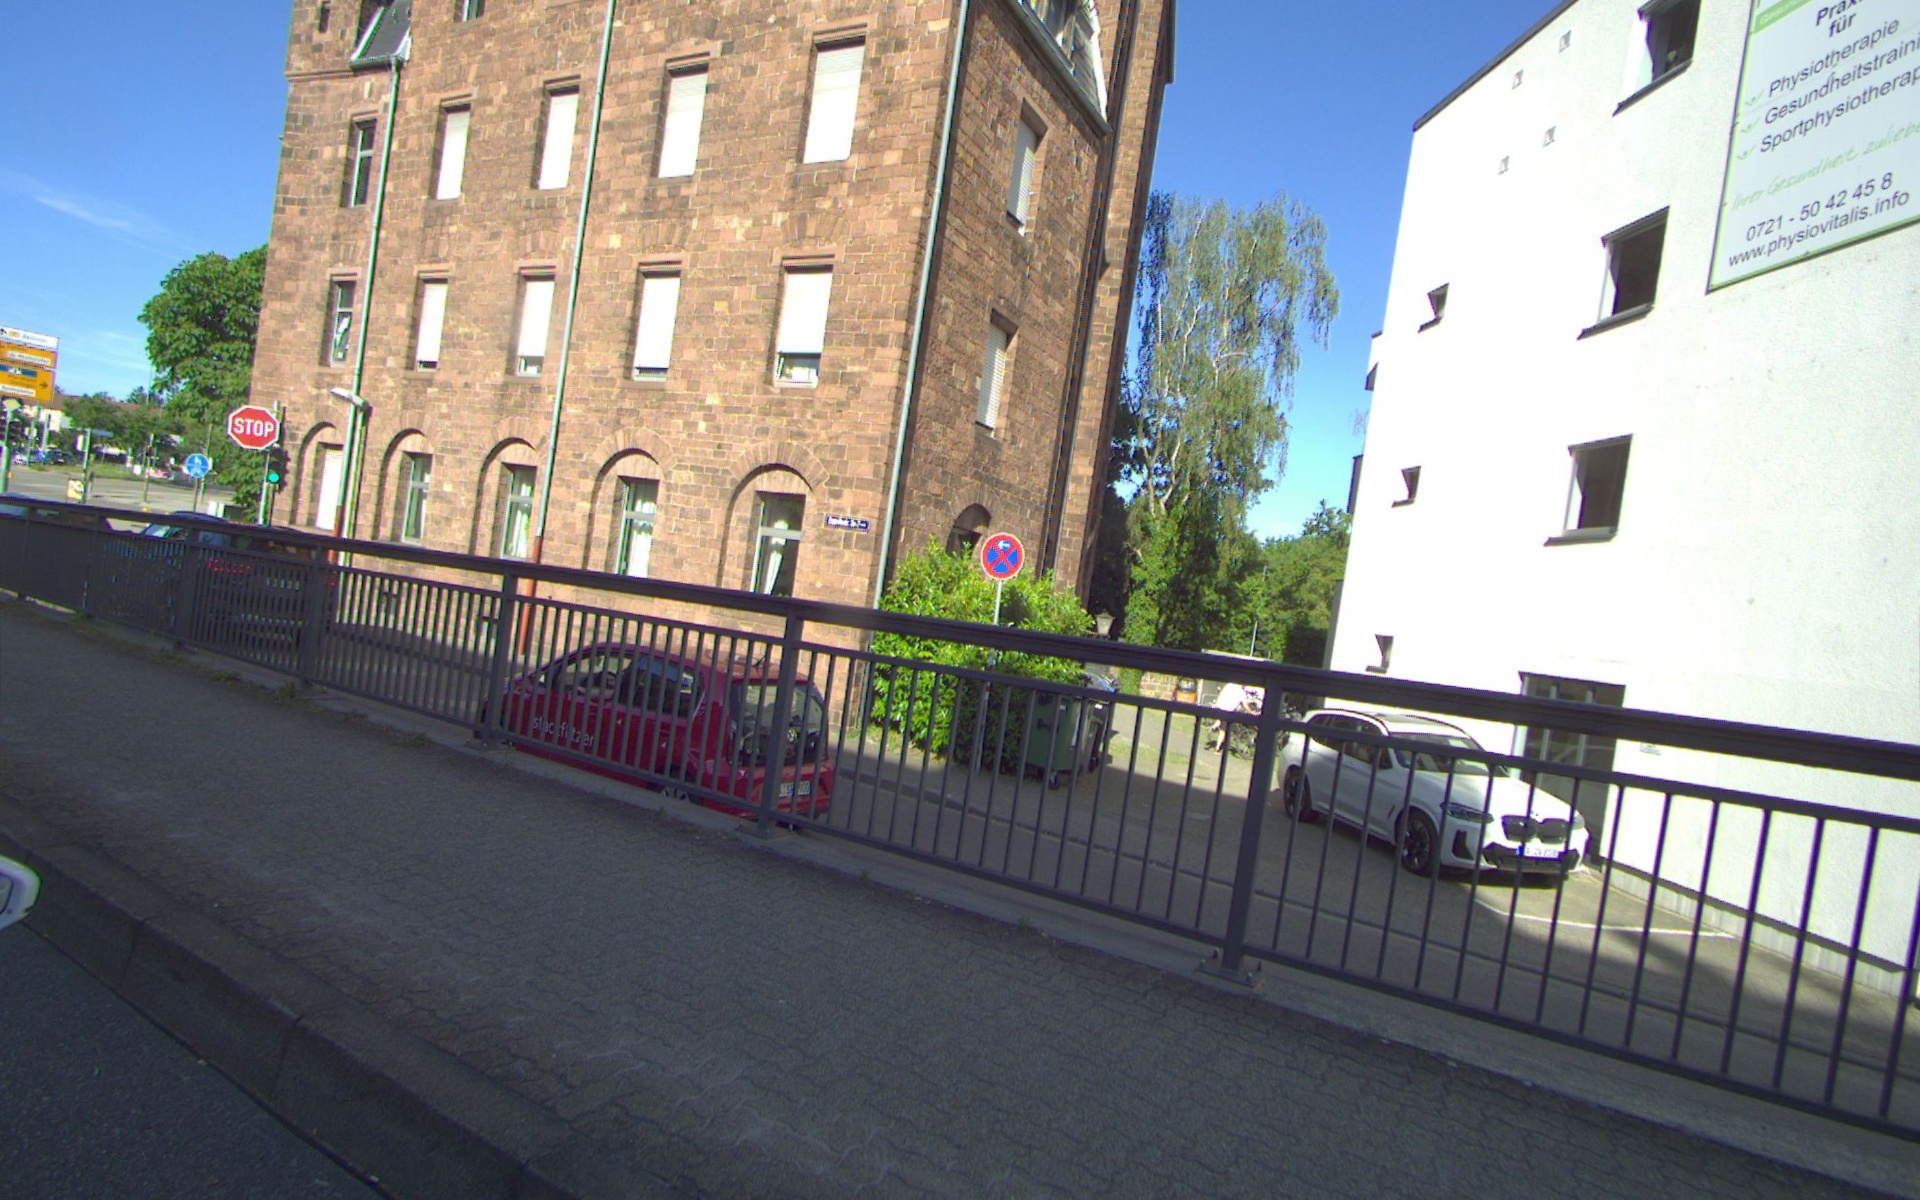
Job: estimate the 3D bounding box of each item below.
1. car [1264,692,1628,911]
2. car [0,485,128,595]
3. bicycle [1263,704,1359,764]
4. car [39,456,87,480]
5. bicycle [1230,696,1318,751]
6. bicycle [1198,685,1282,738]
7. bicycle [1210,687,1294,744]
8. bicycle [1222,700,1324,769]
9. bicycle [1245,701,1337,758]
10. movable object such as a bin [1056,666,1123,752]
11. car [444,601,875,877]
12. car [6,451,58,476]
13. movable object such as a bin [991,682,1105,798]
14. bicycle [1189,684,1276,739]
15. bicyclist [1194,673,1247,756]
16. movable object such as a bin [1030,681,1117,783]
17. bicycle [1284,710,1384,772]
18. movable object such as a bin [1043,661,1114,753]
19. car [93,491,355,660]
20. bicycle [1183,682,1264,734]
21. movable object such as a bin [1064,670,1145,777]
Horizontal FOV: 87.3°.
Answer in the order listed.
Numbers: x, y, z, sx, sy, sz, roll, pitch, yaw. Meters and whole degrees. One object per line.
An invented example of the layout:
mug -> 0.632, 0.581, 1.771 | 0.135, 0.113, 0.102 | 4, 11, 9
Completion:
car -> 5.970, 2.406, 13.132 | 1.814, 1.707, 4.521 | 8, 0, -9
car -> -18.687, -1.305, 20.309 | 4.228, 1.623, 1.723 | 10, 1, 35
bicycle -> 8.128, 3.098, 23.358 | 1.889, 1.065, 0.664 | 8, 1, -6
car -> -82.312, -12.101, 92.343 | 1.860, 1.598, 3.978 | 8, 1, -22
bicycle -> 7.869, 3.087, 25.274 | 1.889, 1.065, 0.664 | 8, 1, -6
bicycle -> 7.907, 3.140, 28.406 | 2.075, 1.174, 0.664 | 8, 1, -9
bicycle -> 7.667, 3.030, 26.441 | 1.889, 1.174, 0.664 | 8, 1, -6
bicycle -> 6.638, 2.849, 21.343 | 1.807, 1.155, 0.688 | 8, 2, -7
bicycle -> 7.973, 3.119, 24.246 | 1.889, 1.065, 0.664 | 8, 1, -6
movable object such as a bin -> 2.645, 2.185, 20.452 | 1.009, 1.539, 1.007 | 10, 0, 14
car -> -2.744, 1.099, 9.052 | 3.427, 1.540, 1.724 | 10, 1, 32
car -> -79.893, -11.739, 86.641 | 1.860, 1.598, 3.978 | 8, 1, -22
movable object such as a bin -> 1.192, 1.852, 13.513 | 1.011, 1.307, 1.005 | 10, 0, 29
bicycle -> 7.406, 3.032, 27.374 | 2.075, 1.174, 0.664 | 8, 1, -9
bicyclist -> 5.633, 2.465, 21.749 | 0.684, 1.627, 0.687 | 9, 0, -6
movable object such as a bin -> 1.760, 2.000, 15.475 | 1.009, 1.307, 1.007 | 10, 0, 14
bicycle -> 8.333, 3.143, 22.444 | 1.889, 1.065, 0.664 | 8, 1, -6
movable object such as a bin -> 2.285, 2.019, 19.263 | 1.009, 1.539, 1.007 | 10, 0, 14
car -> -11.283, -0.413, 15.341 | 4.227, 1.834, 1.724 | 10, 1, 34
bicycle -> 7.663, 3.141, 29.259 | 2.075, 1.174, 0.664 | 8, 1, -9
movable object such as a bin -> 2.401, 2.018, 16.656 | 1.009, 1.539, 1.007 | 10, 0, 14
